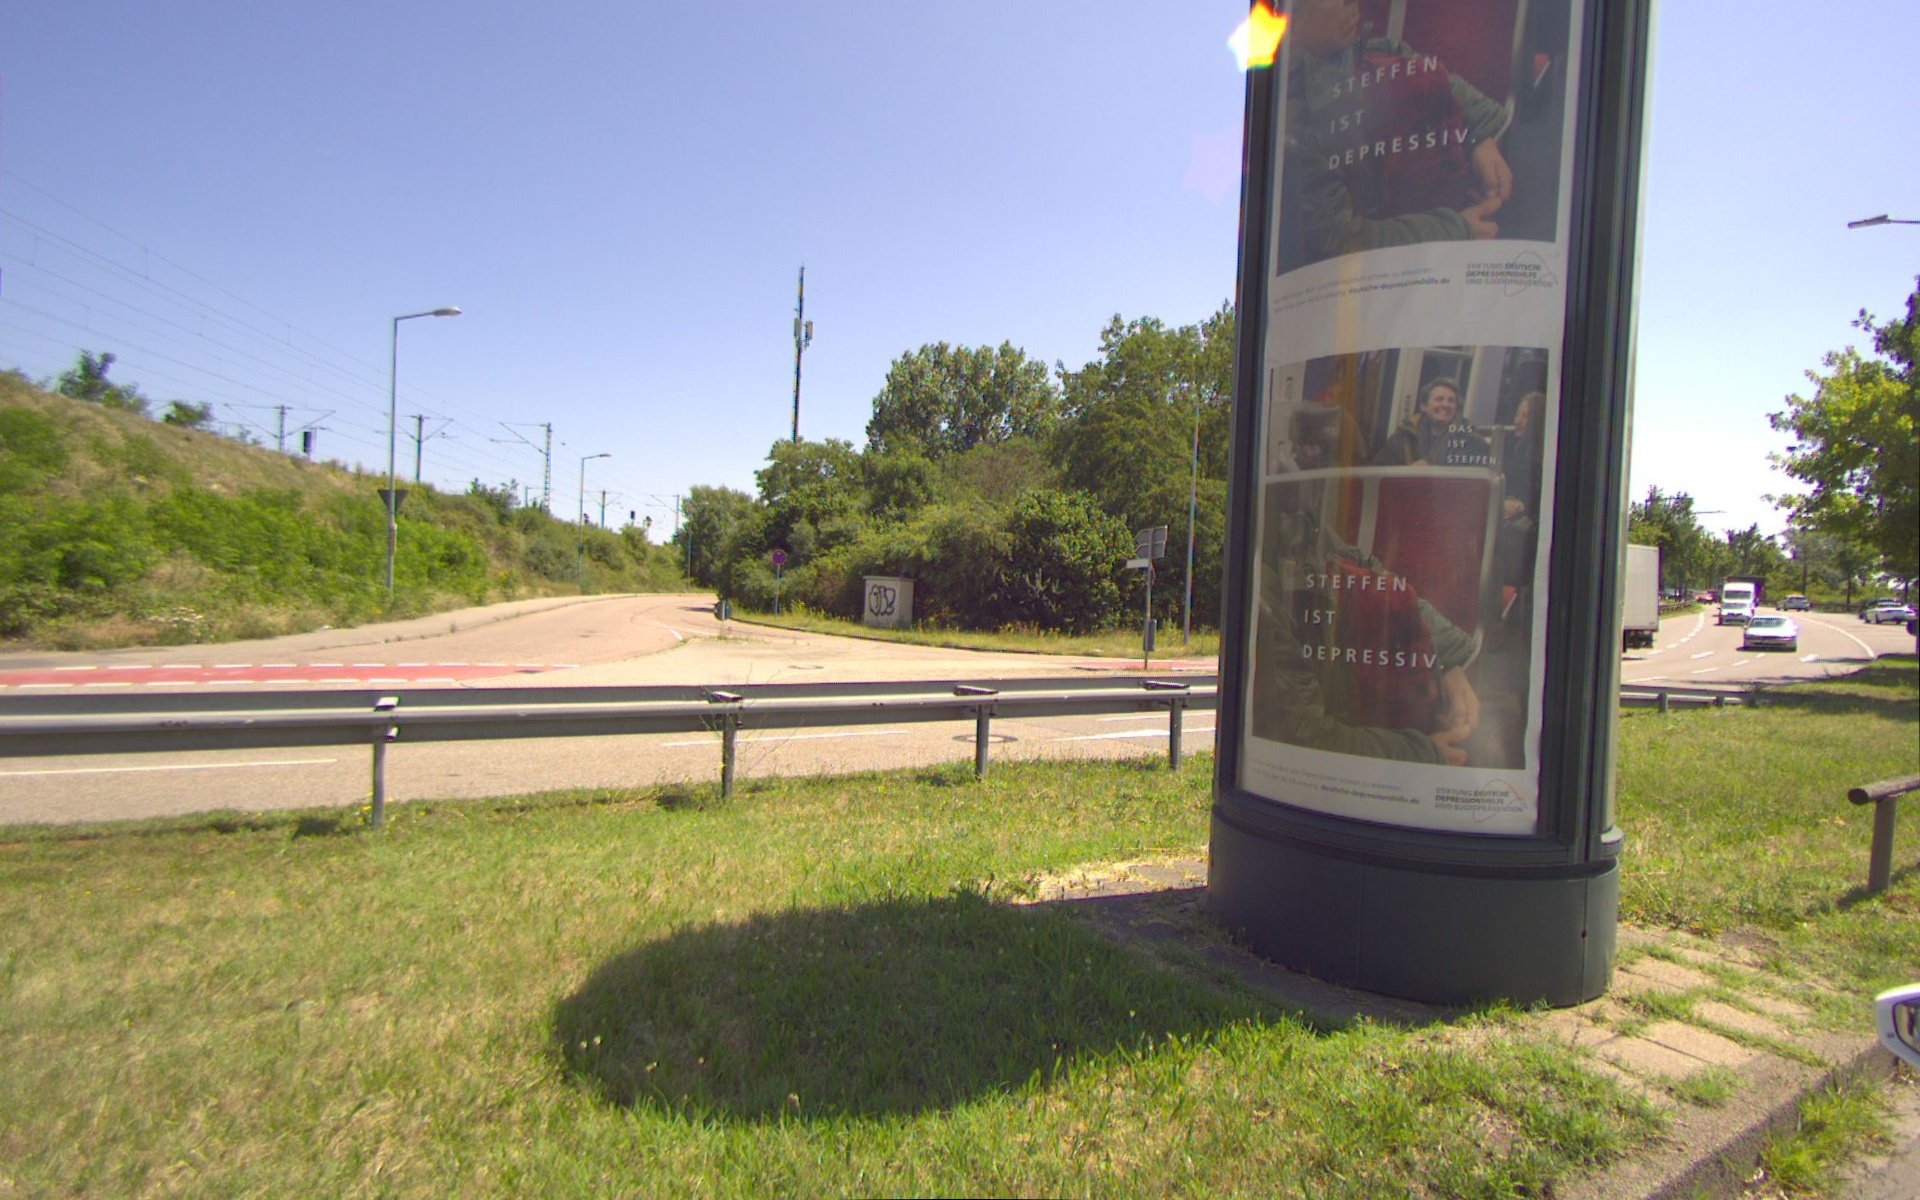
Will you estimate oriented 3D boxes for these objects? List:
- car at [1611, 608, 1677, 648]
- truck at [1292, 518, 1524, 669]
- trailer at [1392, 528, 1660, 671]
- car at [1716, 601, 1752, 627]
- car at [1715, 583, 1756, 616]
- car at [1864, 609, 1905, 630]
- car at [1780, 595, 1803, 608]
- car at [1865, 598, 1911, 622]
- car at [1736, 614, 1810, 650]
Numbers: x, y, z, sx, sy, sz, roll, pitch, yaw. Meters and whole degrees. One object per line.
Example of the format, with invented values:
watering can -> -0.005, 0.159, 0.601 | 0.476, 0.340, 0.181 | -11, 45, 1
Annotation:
car -> 29.864, 1.229, 43.813 | 4.443, 1.654, 1.474 | 2, 0, -44
truck -> 13.190, -0.113, 29.590 | 6.175, 4.075, 2.540 | 2, 0, -20
trailer -> 19.358, -0.015, 33.751 | 12.583, 4.104, 2.990 | 0, 1, -37
car -> 49.696, 0.902, 64.460 | 1.616, 1.588, 4.052 | 0, -2, 41
car -> 61.260, -0.067, 79.307 | 2.071, 2.534, 5.776 | 0, 0, 42
car -> 61.449, 1.285, 66.817 | 1.437, 1.331, 3.627 | 2, 0, 34
car -> 77.242, 0.172, 93.318 | 1.303, 1.154, 2.987 | 2, 0, 33
car -> 61.574, 0.688, 66.694 | 1.642, 1.484, 3.570 | 2, 0, 34
car -> 33.734, 1.323, 41.640 | 4.186, 1.421, 1.621 | 2, -2, -40
